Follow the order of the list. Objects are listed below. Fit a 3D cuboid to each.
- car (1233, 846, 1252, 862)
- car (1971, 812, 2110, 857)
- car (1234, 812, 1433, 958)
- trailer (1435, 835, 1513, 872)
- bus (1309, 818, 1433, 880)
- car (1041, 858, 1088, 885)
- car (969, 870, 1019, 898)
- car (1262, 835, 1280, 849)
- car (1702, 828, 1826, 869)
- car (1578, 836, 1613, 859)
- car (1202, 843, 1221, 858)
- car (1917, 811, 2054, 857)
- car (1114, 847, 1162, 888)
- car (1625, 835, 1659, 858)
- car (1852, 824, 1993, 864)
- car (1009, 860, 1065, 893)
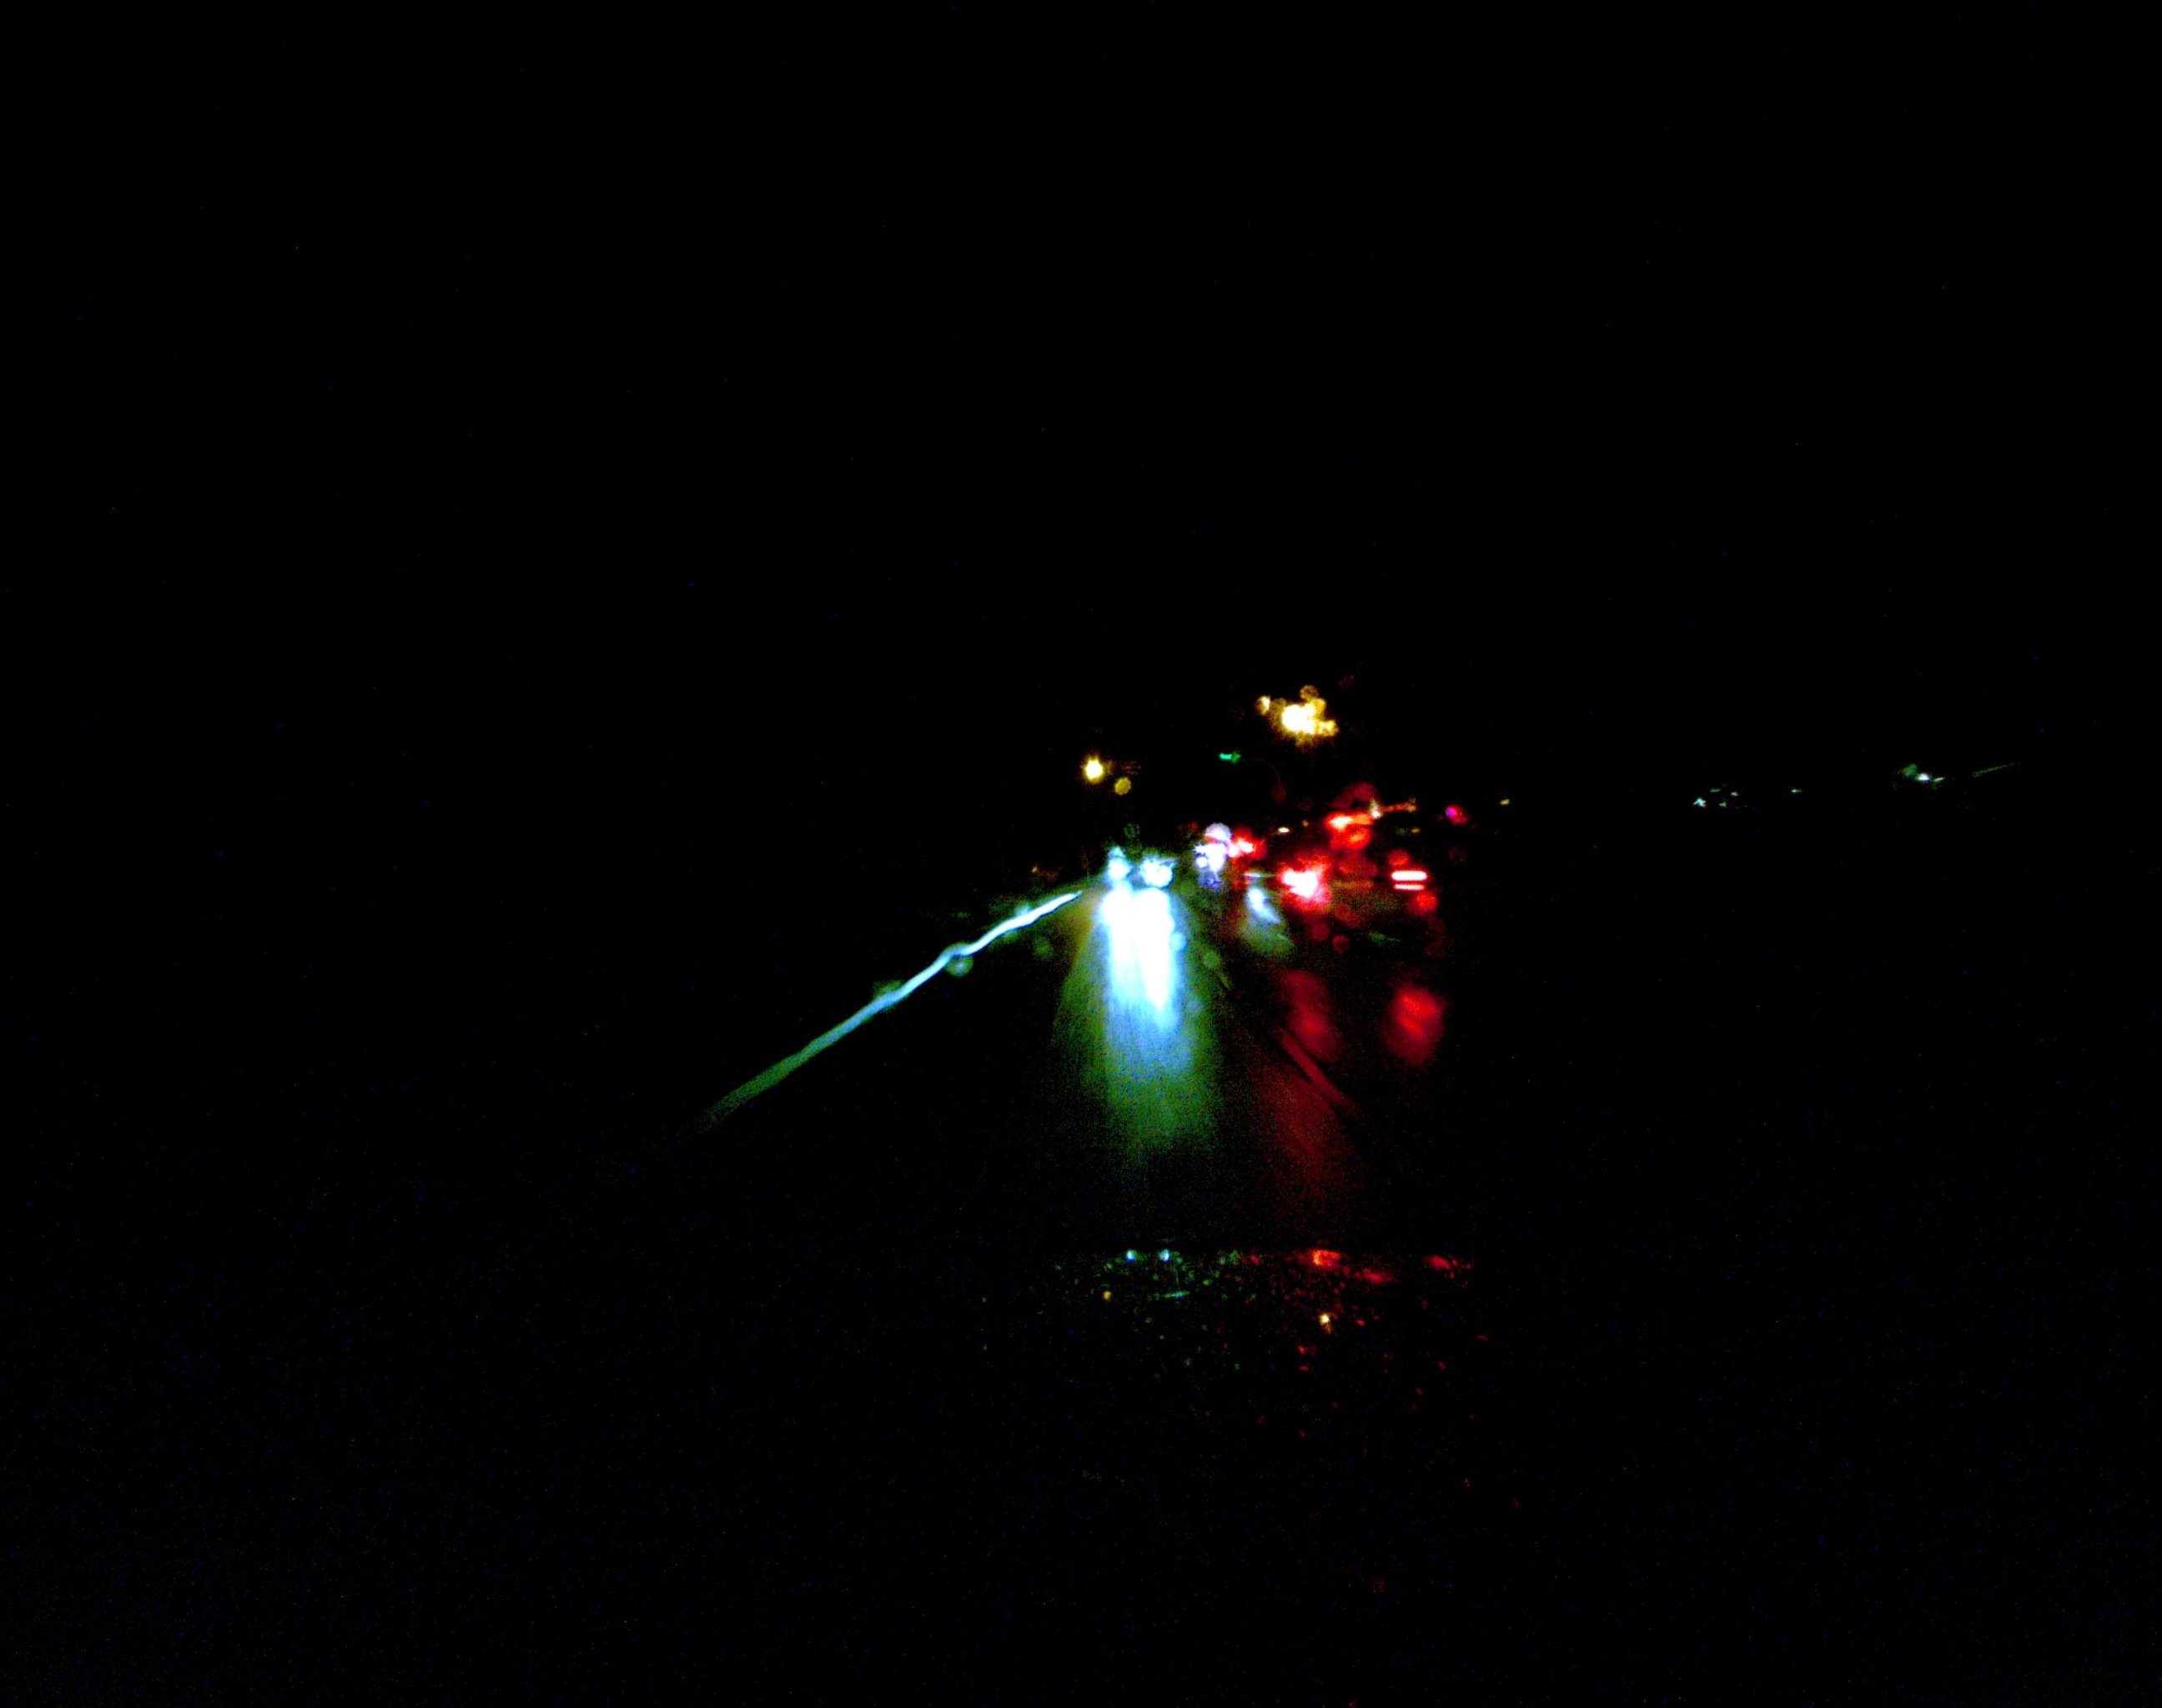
[{"bbox_3d":[15.914,-0.048,74.687,1.637,1.502,4.121,1,2,15],"label":"car"},{"bbox_3d":[47.799,-1.036,37.989,1.764,2.045,3.996,-4,4,-5],"label":"car"},{"bbox_3d":[4.155,0.459,13.481,1.998,2.002,4.846,-4,0,3],"label":"car"},{"bbox_3d":[18.980,-0.065,36.891,1.816,1.668,4.101,0,2,3],"label":"trailer"},{"bbox_3d":[20.649,-0.581,55.506,2.901,3.848,13.046,-3,3,-5],"label":"bus"},{"bbox_3d":[-0.941,1.016,45.051,1.637,1.390,3.679,-1,2,18],"label":"car"},{"bbox_3d":[-5.410,1.857,47.837,1.637,1.502,3.680,1,2,20],"label":"car"},{"bbox_3d":[22.973,-1.460,91.863,1.697,1.591,3.804,-1,3,19],"label":"car"},{"bbox_3d":[34.171,-0.346,38.212,1.942,1.688,4.623,-4,4,-2],"label":"car"},{"bbox_3d":[41.125,-0.555,60.682,1.855,1.391,4.045,4,7,39],"label":"car"},{"bbox_3d":[13.878,-0.419,80.692,1.589,1.286,3.370,-3,4,14],"label":"car"},{"bbox_3d":[45.362,-1.056,38.242,1.999,2.045,3.996,-4,4,-5],"label":"car"},{"bbox_3d":[2.744,0.586,35.782,1.958,1.712,4.002,-2,1,8],"label":"car"},{"bbox_3d":[43.281,-0.635,58.581,1.855,1.391,4.045,4,7,39],"label":"car"},{"bbox_3d":[42.435,-0.569,38.516,1.942,1.688,4.623,-4,4,-2],"label":"car"},{"bbox_3d":[-2.297,1.183,40.744,1.676,1.557,3.806,-1,1,18],"label":"car"}]
